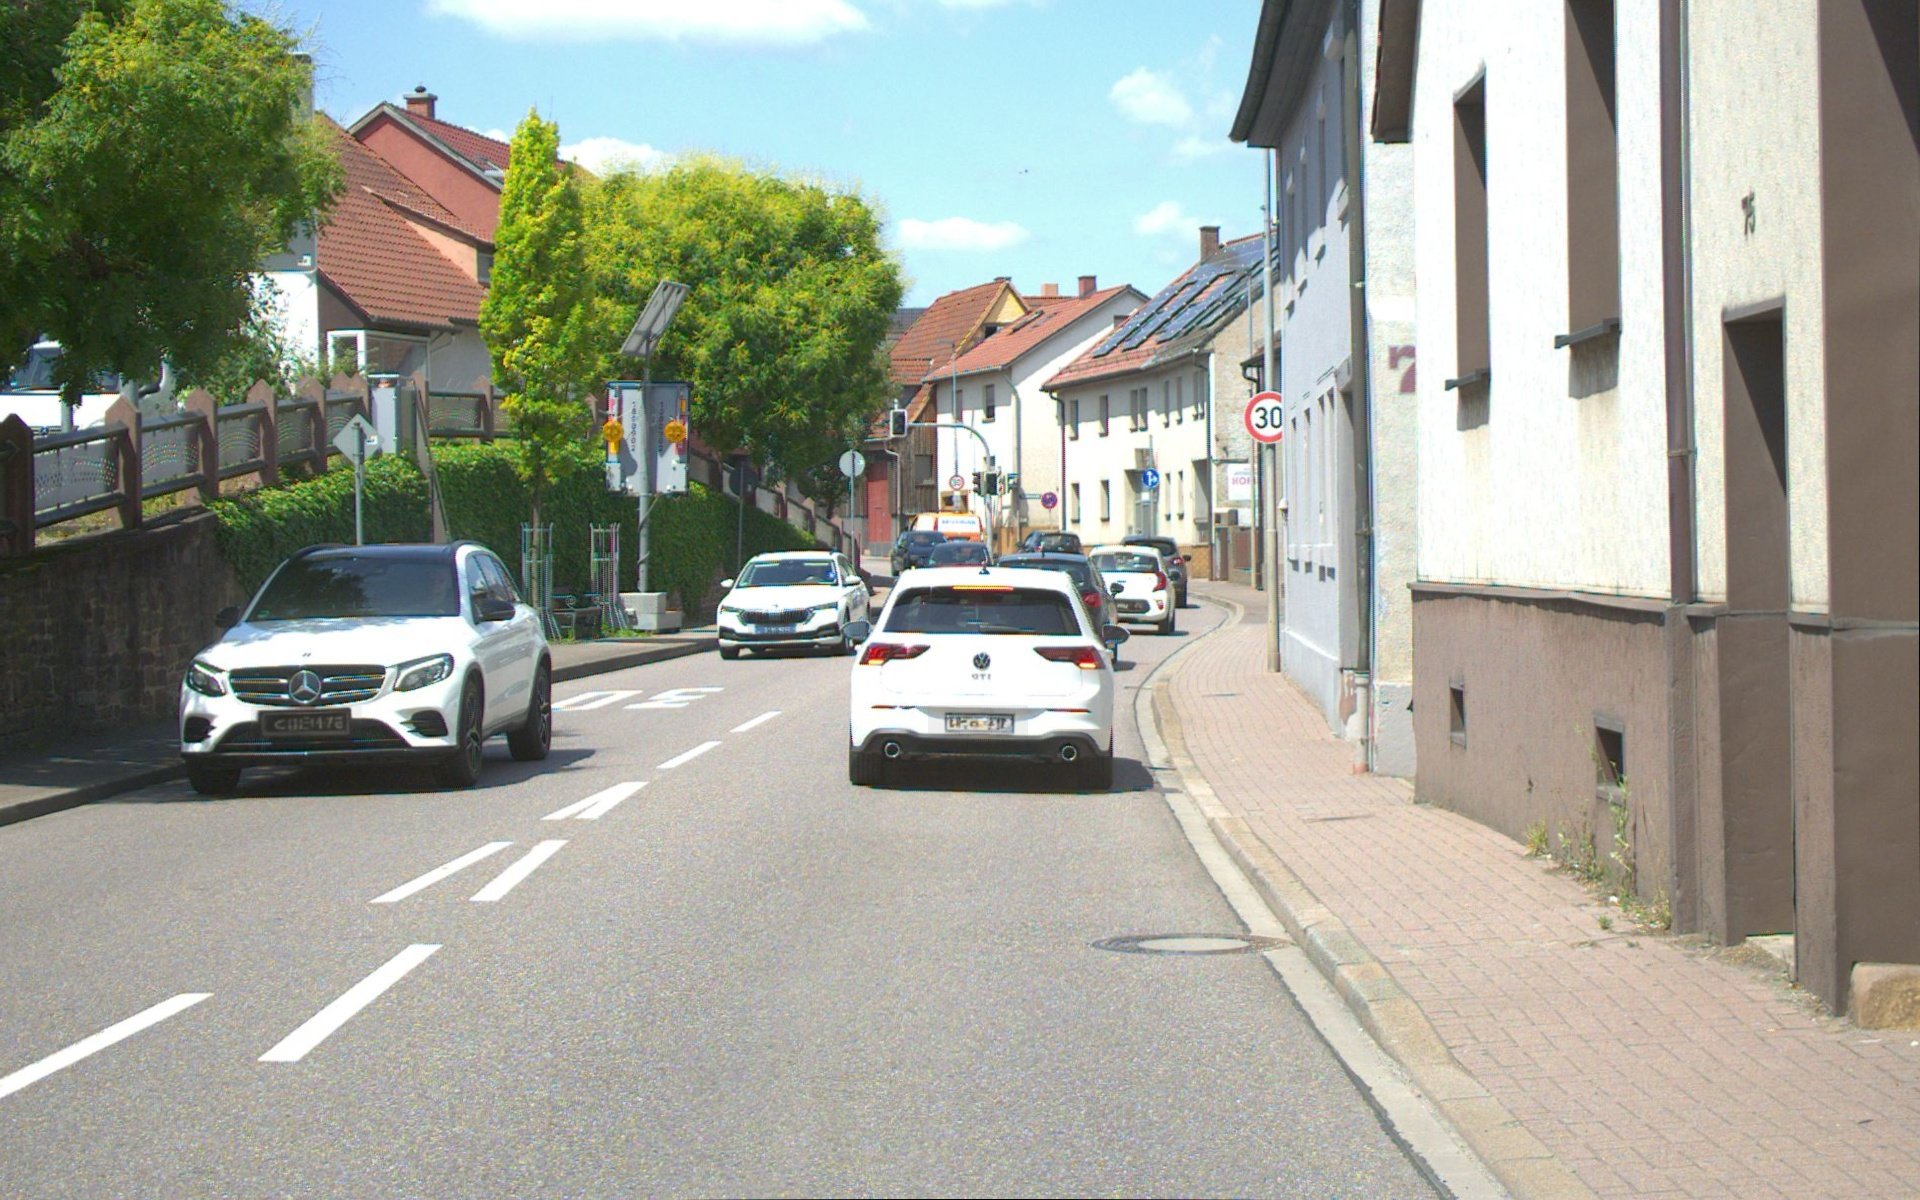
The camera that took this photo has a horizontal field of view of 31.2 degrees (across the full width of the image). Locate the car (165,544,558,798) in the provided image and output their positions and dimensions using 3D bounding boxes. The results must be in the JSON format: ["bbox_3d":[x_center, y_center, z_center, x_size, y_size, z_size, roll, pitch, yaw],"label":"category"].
[{"bbox_3d":[-4.053,0.415,24.005,1.842,1.574,4.445,-1,1,1],"label":"car"}]

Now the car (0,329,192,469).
[{"bbox_3d":[-9.901,-2.323,39.065,1.576,1.357,3.857,0,7,-2],"label":"car"}]

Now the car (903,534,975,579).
[{"bbox_3d":[-0.667,-1.373,106.861,1.793,1.373,4.117,0,1,-6],"label":"car"}]

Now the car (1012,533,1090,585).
[{"bbox_3d":[2.737,-1.244,104.063,1.775,1.533,4.001,0,1,-7],"label":"car"}]

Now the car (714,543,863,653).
[{"bbox_3d":[-2.397,-0.060,48.924,1.813,1.442,4.430,-2,1,1],"label":"car"}]

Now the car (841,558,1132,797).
[{"bbox_3d":[0.177,0.466,23.762,1.808,1.462,4.000,1,1,0],"label":"car"}]

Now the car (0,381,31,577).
[{"bbox_3d":[-8.637,-0.851,27.049,1.693,1.537,3.857,0,7,-2],"label":"car"}]

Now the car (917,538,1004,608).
[{"bbox_3d":[0.044,-0.615,76.337,1.617,1.439,3.801,-2,1,4],"label":"car"}]

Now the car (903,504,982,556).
[{"bbox_3d":[-0.619,-2.431,118.707,1.775,1.759,4.001,0,1,-15],"label":"car"}]

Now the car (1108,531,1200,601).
[{"bbox_3d":[4.382,-0.781,77.080,1.776,1.533,3.999,0,1,7],"label":"car"}]

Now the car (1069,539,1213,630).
[{"bbox_3d":[3.144,-0.274,59.079,1.809,1.462,3.998,2,1,13],"label":"car"}]
